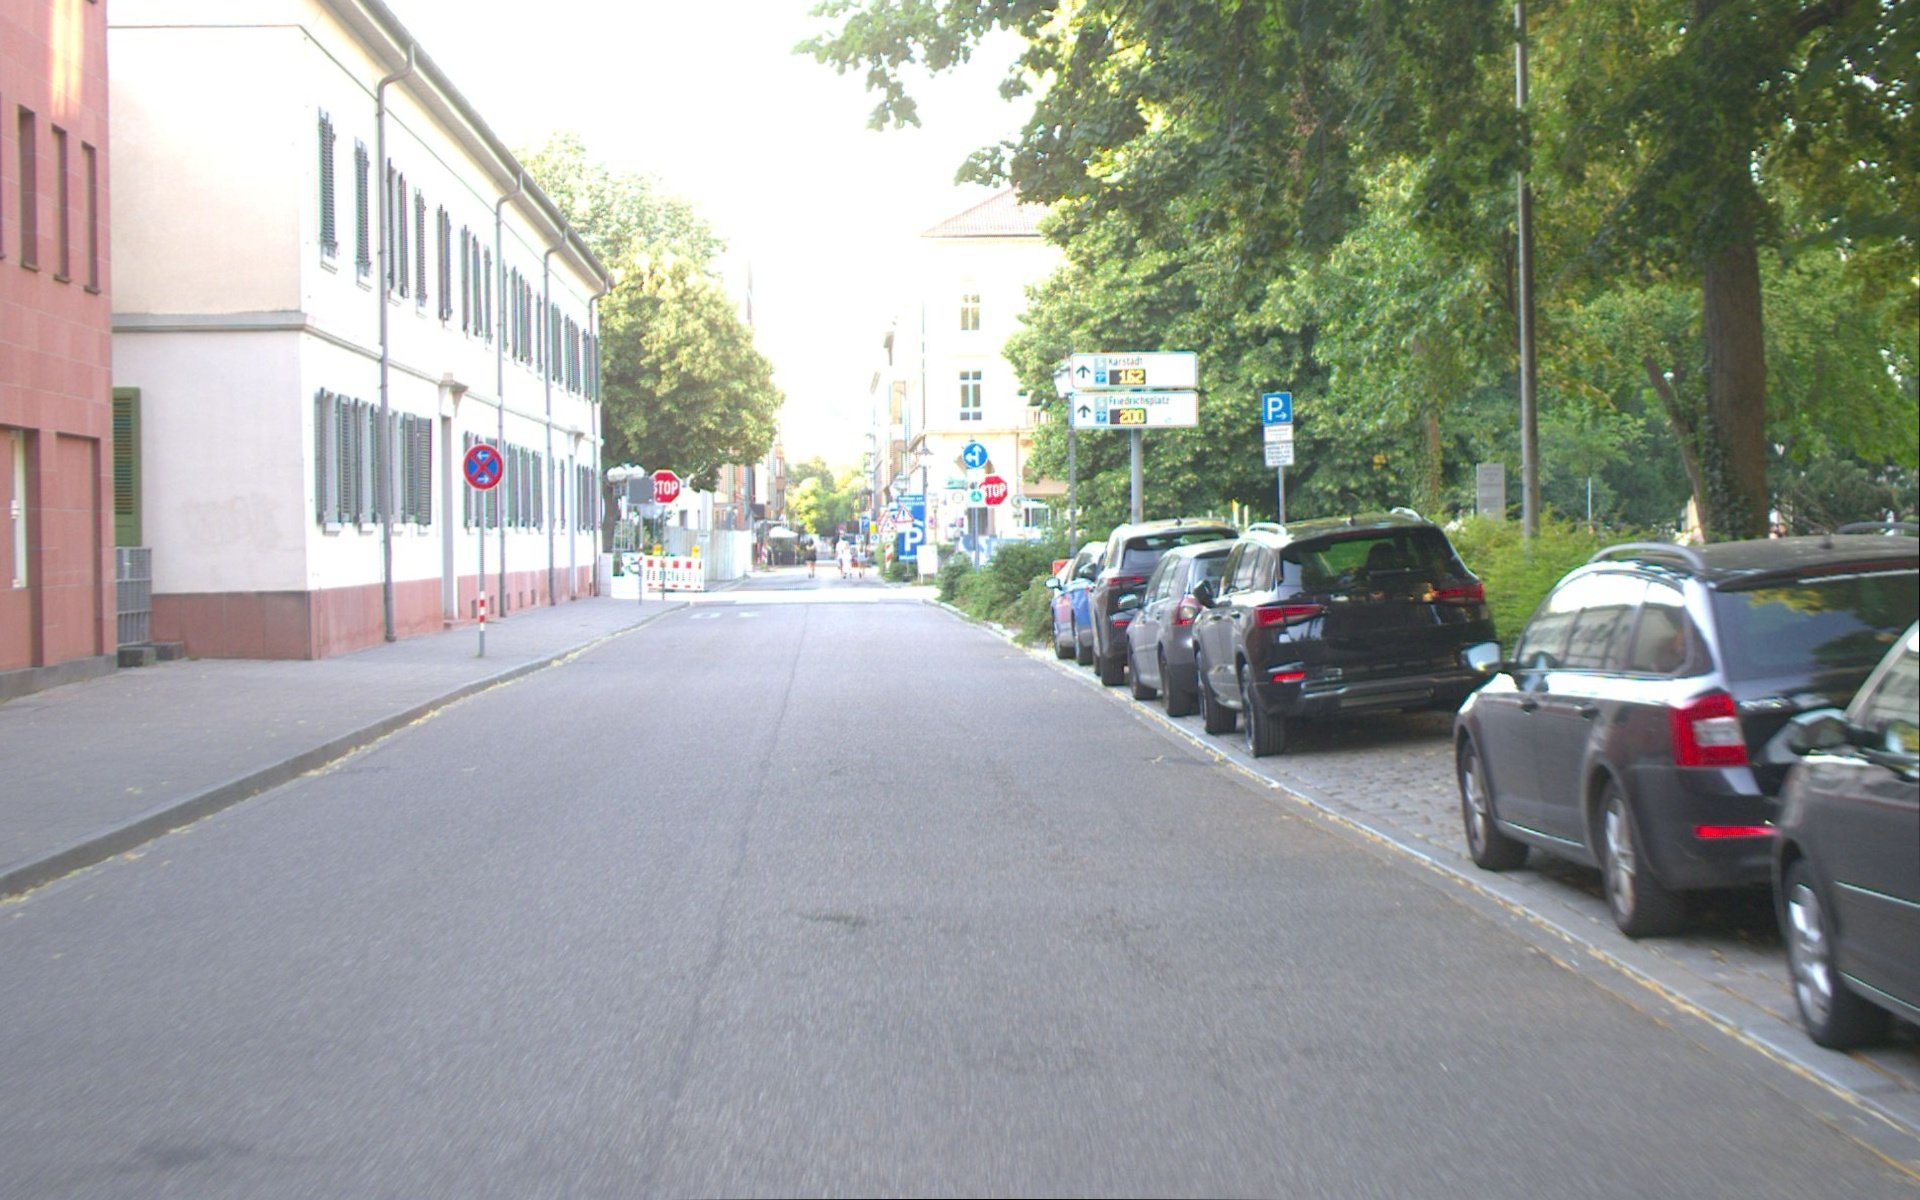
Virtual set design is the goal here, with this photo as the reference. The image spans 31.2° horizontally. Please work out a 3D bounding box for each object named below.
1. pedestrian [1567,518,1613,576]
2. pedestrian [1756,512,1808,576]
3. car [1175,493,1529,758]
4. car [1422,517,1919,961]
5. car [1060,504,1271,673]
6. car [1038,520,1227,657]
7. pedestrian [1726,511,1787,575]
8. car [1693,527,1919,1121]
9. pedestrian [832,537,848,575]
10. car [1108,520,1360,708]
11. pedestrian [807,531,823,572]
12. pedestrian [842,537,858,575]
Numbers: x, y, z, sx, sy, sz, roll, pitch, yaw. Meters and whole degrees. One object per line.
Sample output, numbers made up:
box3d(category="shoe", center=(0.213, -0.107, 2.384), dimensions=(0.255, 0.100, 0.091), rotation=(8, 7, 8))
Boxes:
box3d(category="pedestrian", center=(13.052, -1.097, 71.215), dimensions=(0.807, 1.187, 0.789), rotation=(-1, 1, 1))
box3d(category="pedestrian", center=(17.587, -1.198, 73.530), dimensions=(0.758, 1.342, 0.788), rotation=(-1, 1, -18))
box3d(category="car", center=(2.797, 0.112, 25.497), dimensions=(1.807, 1.645, 4.419), rotation=(-5, 2, -2))
box3d(category="car", center=(3.173, 0.451, 14.078), dimensions=(1.734, 1.501, 4.523), rotation=(-1, 0, -2))
box3d(category="car", center=(2.117, -0.131, 36.534), dimensions=(1.724, 1.646, 4.713), rotation=(-1, 0, -2))
box3d(category="car", center=(2.077, -0.173, 42.594), dimensions=(1.724, 1.483, 4.611), rotation=(-4, 1, -4))
box3d(category="pedestrian", center=(16.881, -1.208, 72.866), dimensions=(0.916, 1.342, 0.885), rotation=(-1, 1, -17))
box3d(category="car", center=(3.311, 0.556, 8.929), dimensions=(1.724, 1.528, 4.190), rotation=(-1, 0, -2))
box3d(category="pedestrian", center=(-5.237, -1.924, 149.560), dimensions=(0.657, 1.630, 0.745), rotation=(-1, 1, -2))
box3d(category="car", center=(2.389, 0.103, 30.902), dimensions=(1.724, 1.533, 4.190), rotation=(-1, 0, -2))
box3d(category="pedestrian", center=(-6.289, -2.104, 149.455), dimensions=(0.657, 1.754, 0.745), rotation=(-1, 1, -1))
box3d(category="pedestrian", center=(-4.709, -1.883, 147.505), dimensions=(0.657, 1.611, 0.745), rotation=(-1, 1, -2))
